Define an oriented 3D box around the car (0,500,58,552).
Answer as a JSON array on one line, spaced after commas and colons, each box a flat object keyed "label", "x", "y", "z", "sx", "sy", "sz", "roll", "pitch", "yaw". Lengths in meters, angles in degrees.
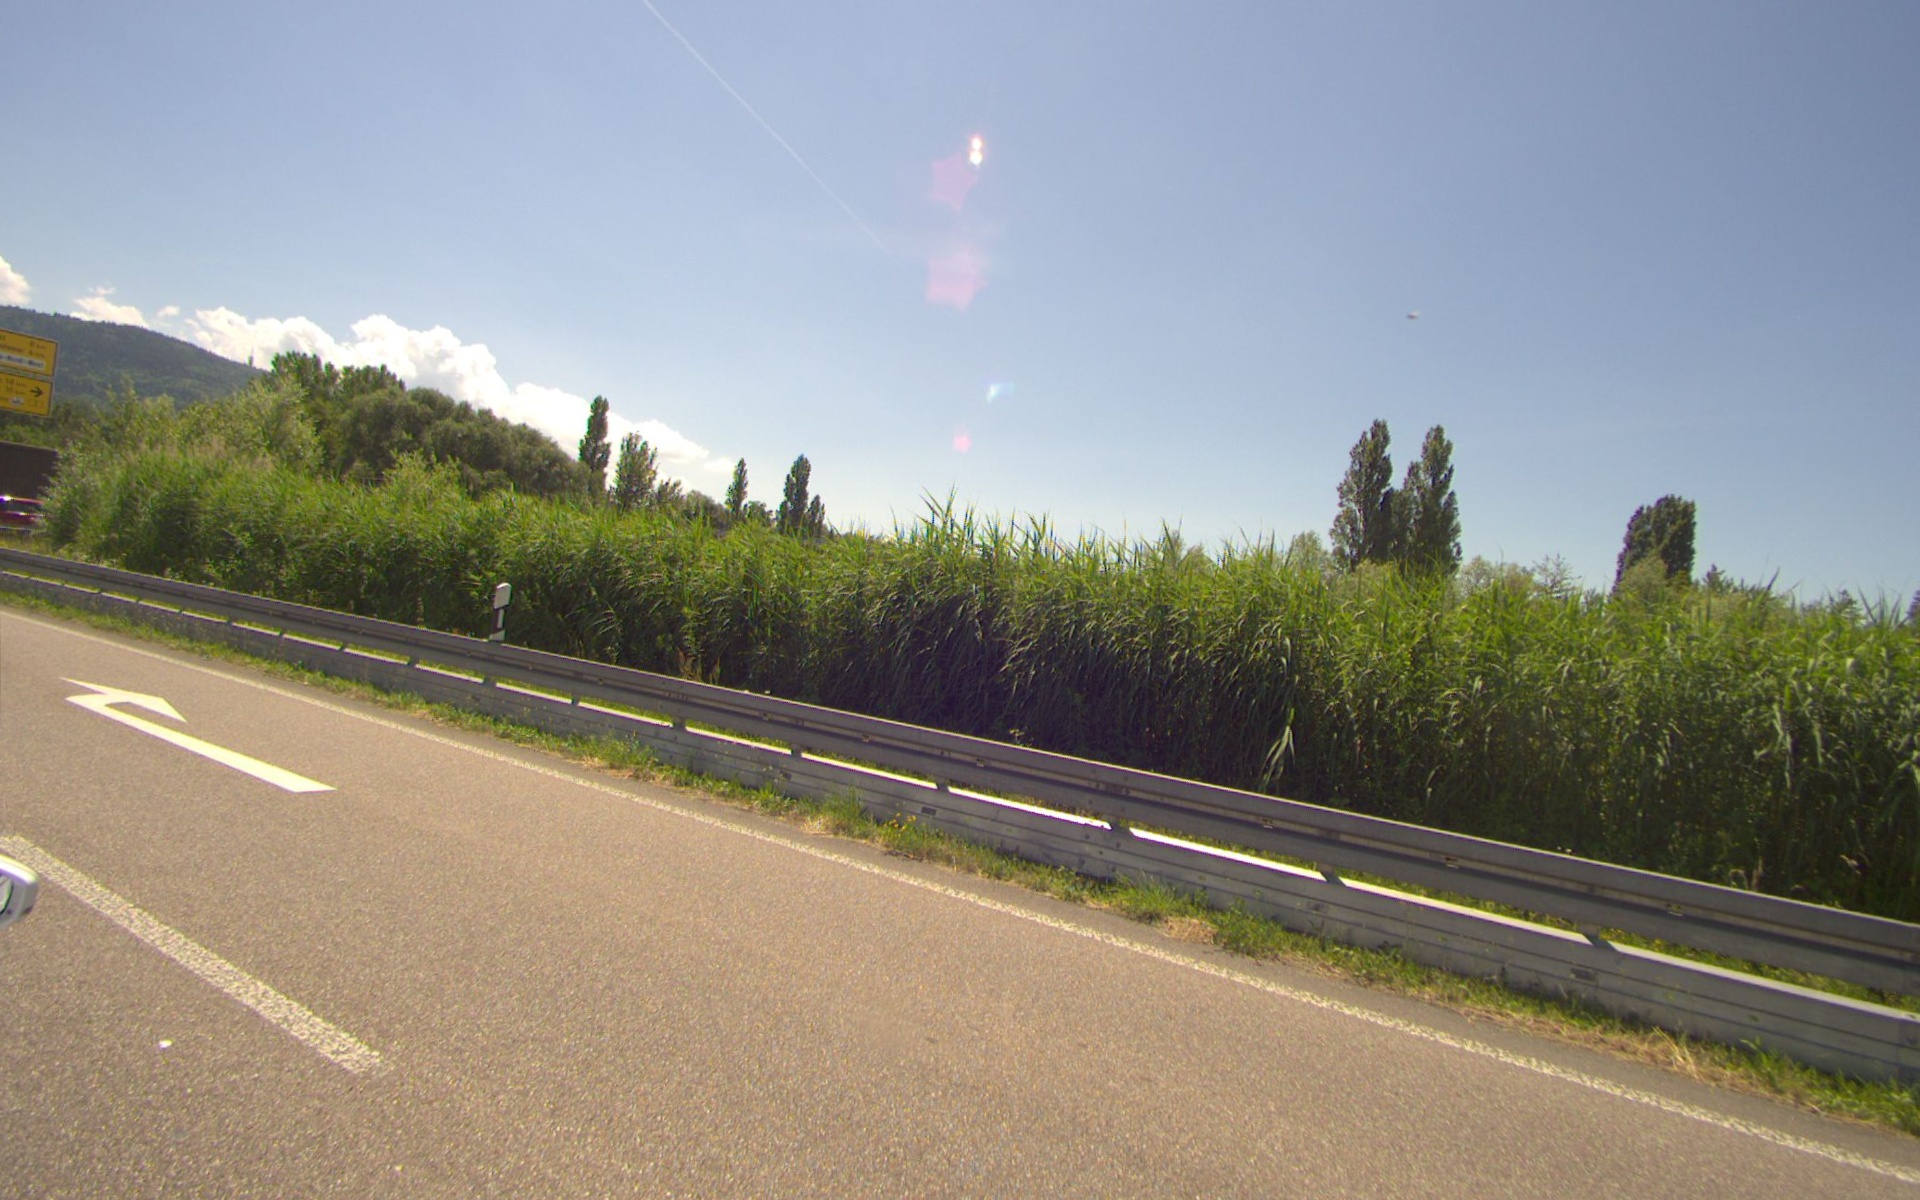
[{"label": "car", "x": -36.330, "y": -2.960, "z": 36.892, "sx": 1.966, "sy": 1.676, "sz": 4.320, "roll": 7, "pitch": -2, "yaw": 28}]
